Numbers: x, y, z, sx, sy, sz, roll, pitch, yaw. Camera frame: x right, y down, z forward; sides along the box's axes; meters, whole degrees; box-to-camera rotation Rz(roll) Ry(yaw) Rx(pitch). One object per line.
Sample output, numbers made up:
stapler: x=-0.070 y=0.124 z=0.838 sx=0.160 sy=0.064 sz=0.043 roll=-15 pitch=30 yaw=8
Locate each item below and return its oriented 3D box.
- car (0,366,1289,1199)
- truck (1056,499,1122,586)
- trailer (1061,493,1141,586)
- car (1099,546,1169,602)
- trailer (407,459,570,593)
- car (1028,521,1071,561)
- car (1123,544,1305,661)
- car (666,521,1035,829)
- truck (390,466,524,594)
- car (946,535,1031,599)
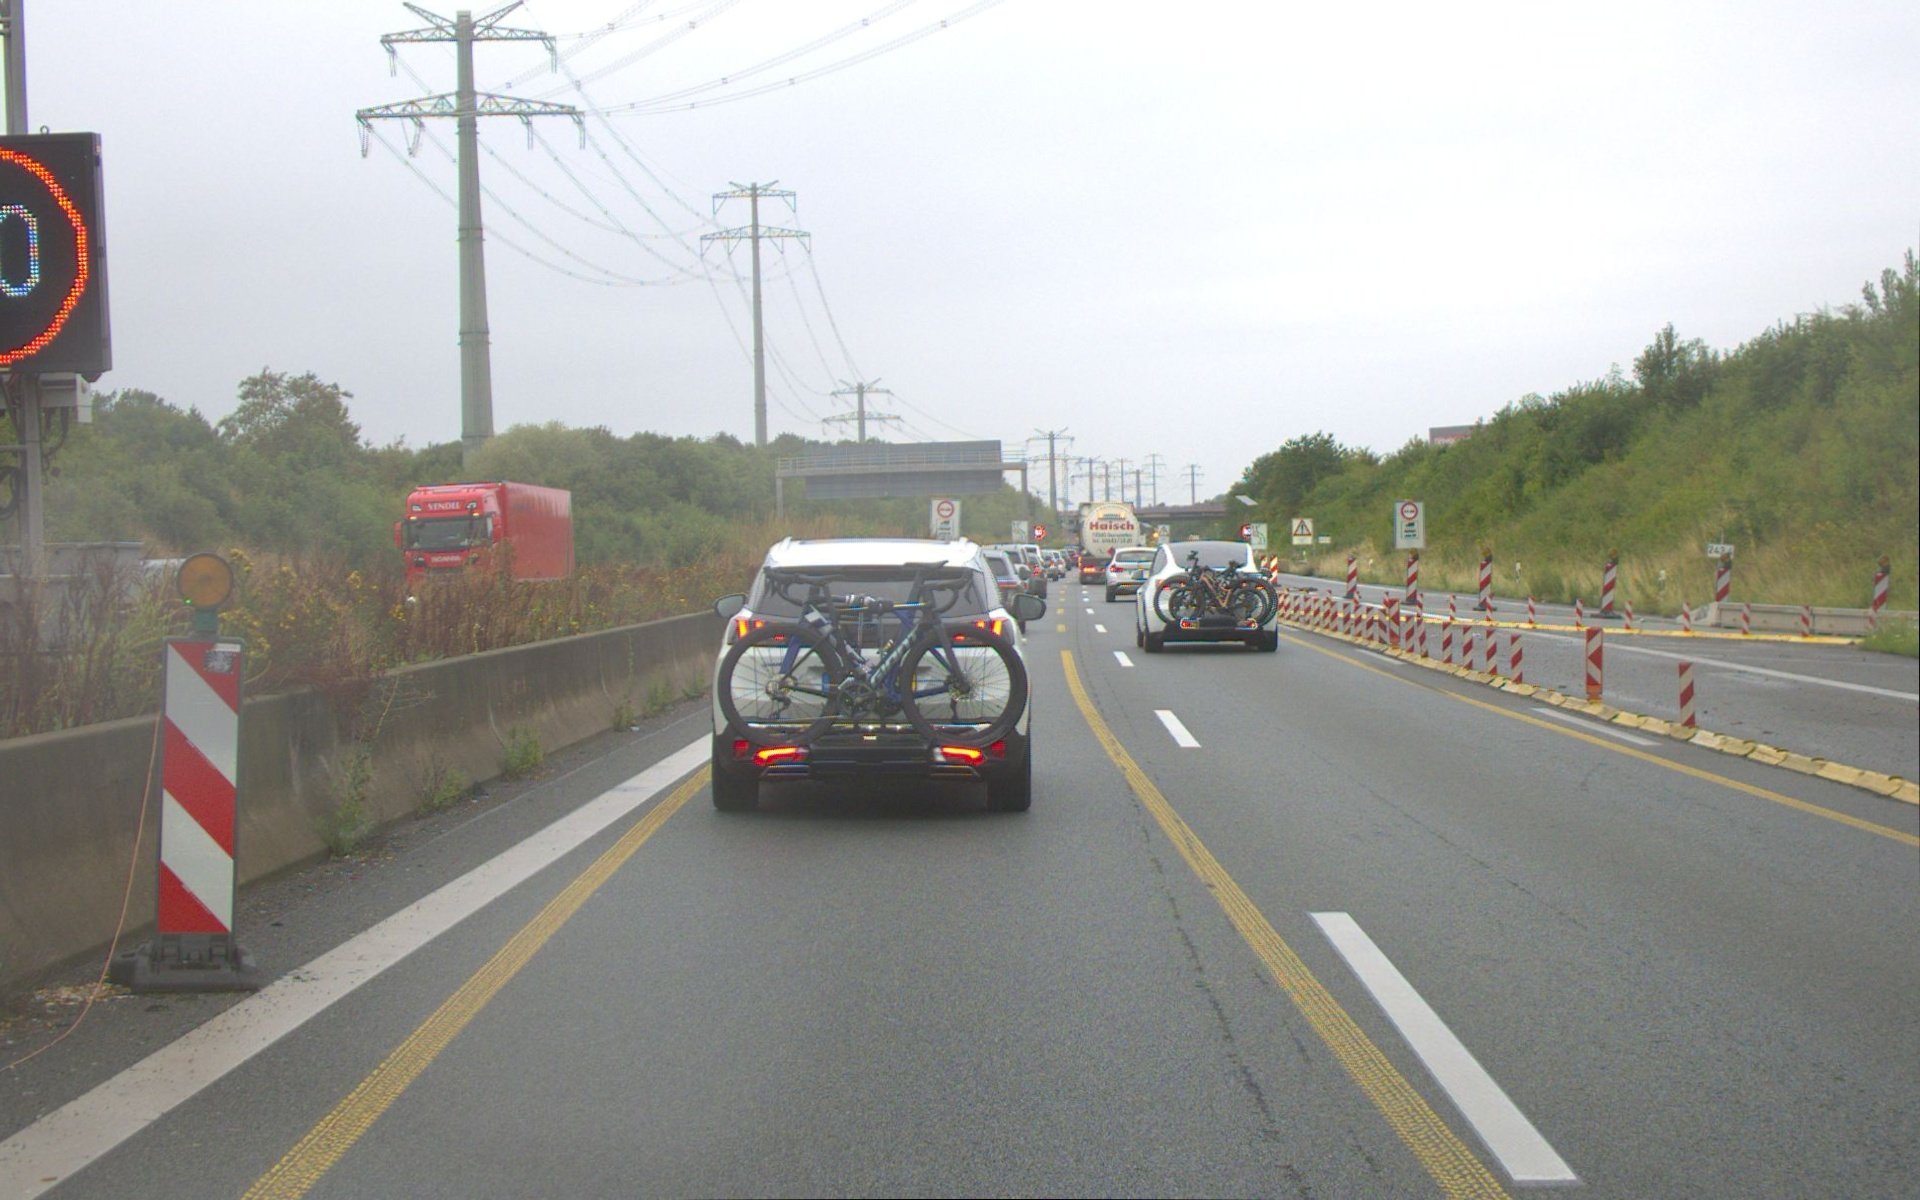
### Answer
car: x=-0.635 y=0.601 z=5.882 sx=1.993 sy=1.754 sz=4.000 roll=-2 pitch=1 yaw=0
truck: x=5.809 y=-2.569 z=155.105 sx=2.644 sy=3.877 sz=4.030 roll=1 pitch=0 yaw=-2
trailer: x=6.039 y=-2.548 z=148.601 sx=2.637 sy=3.880 sz=10.544 roll=1 pitch=0 yaw=-2
car: x=4.896 y=-0.755 z=97.015 sx=1.870 sy=1.529 sz=4.197 roll=0 pitch=1 yaw=2
trailer: x=-14.281 y=-2.155 z=105.385 sx=3.037 sy=3.801 sz=13.978 roll=1 pitch=0 yaw=0
car: x=4.626 y=-3.056 z=178.859 sx=1.993 sy=2.007 sz=4.000 roll=1 pitch=0 yaw=-2
car: x=3.657 y=-0.004 z=50.497 sx=2.045 sy=1.590 sz=5.802 roll=1 pitch=1 yaw=-2
car: x=-0.553 y=0.354 z=20.248 sx=1.928 sy=1.605 sz=4.595 roll=0 pitch=1 yaw=1
truck: x=-14.301 y=-1.953 z=98.080 sx=3.024 sy=3.519 sz=4.926 roll=1 pitch=0 yaw=0
car: x=0.696 y=-0.841 z=86.721 sx=1.993 sy=1.578 sz=4.000 roll=0 pitch=1 yaw=-2
